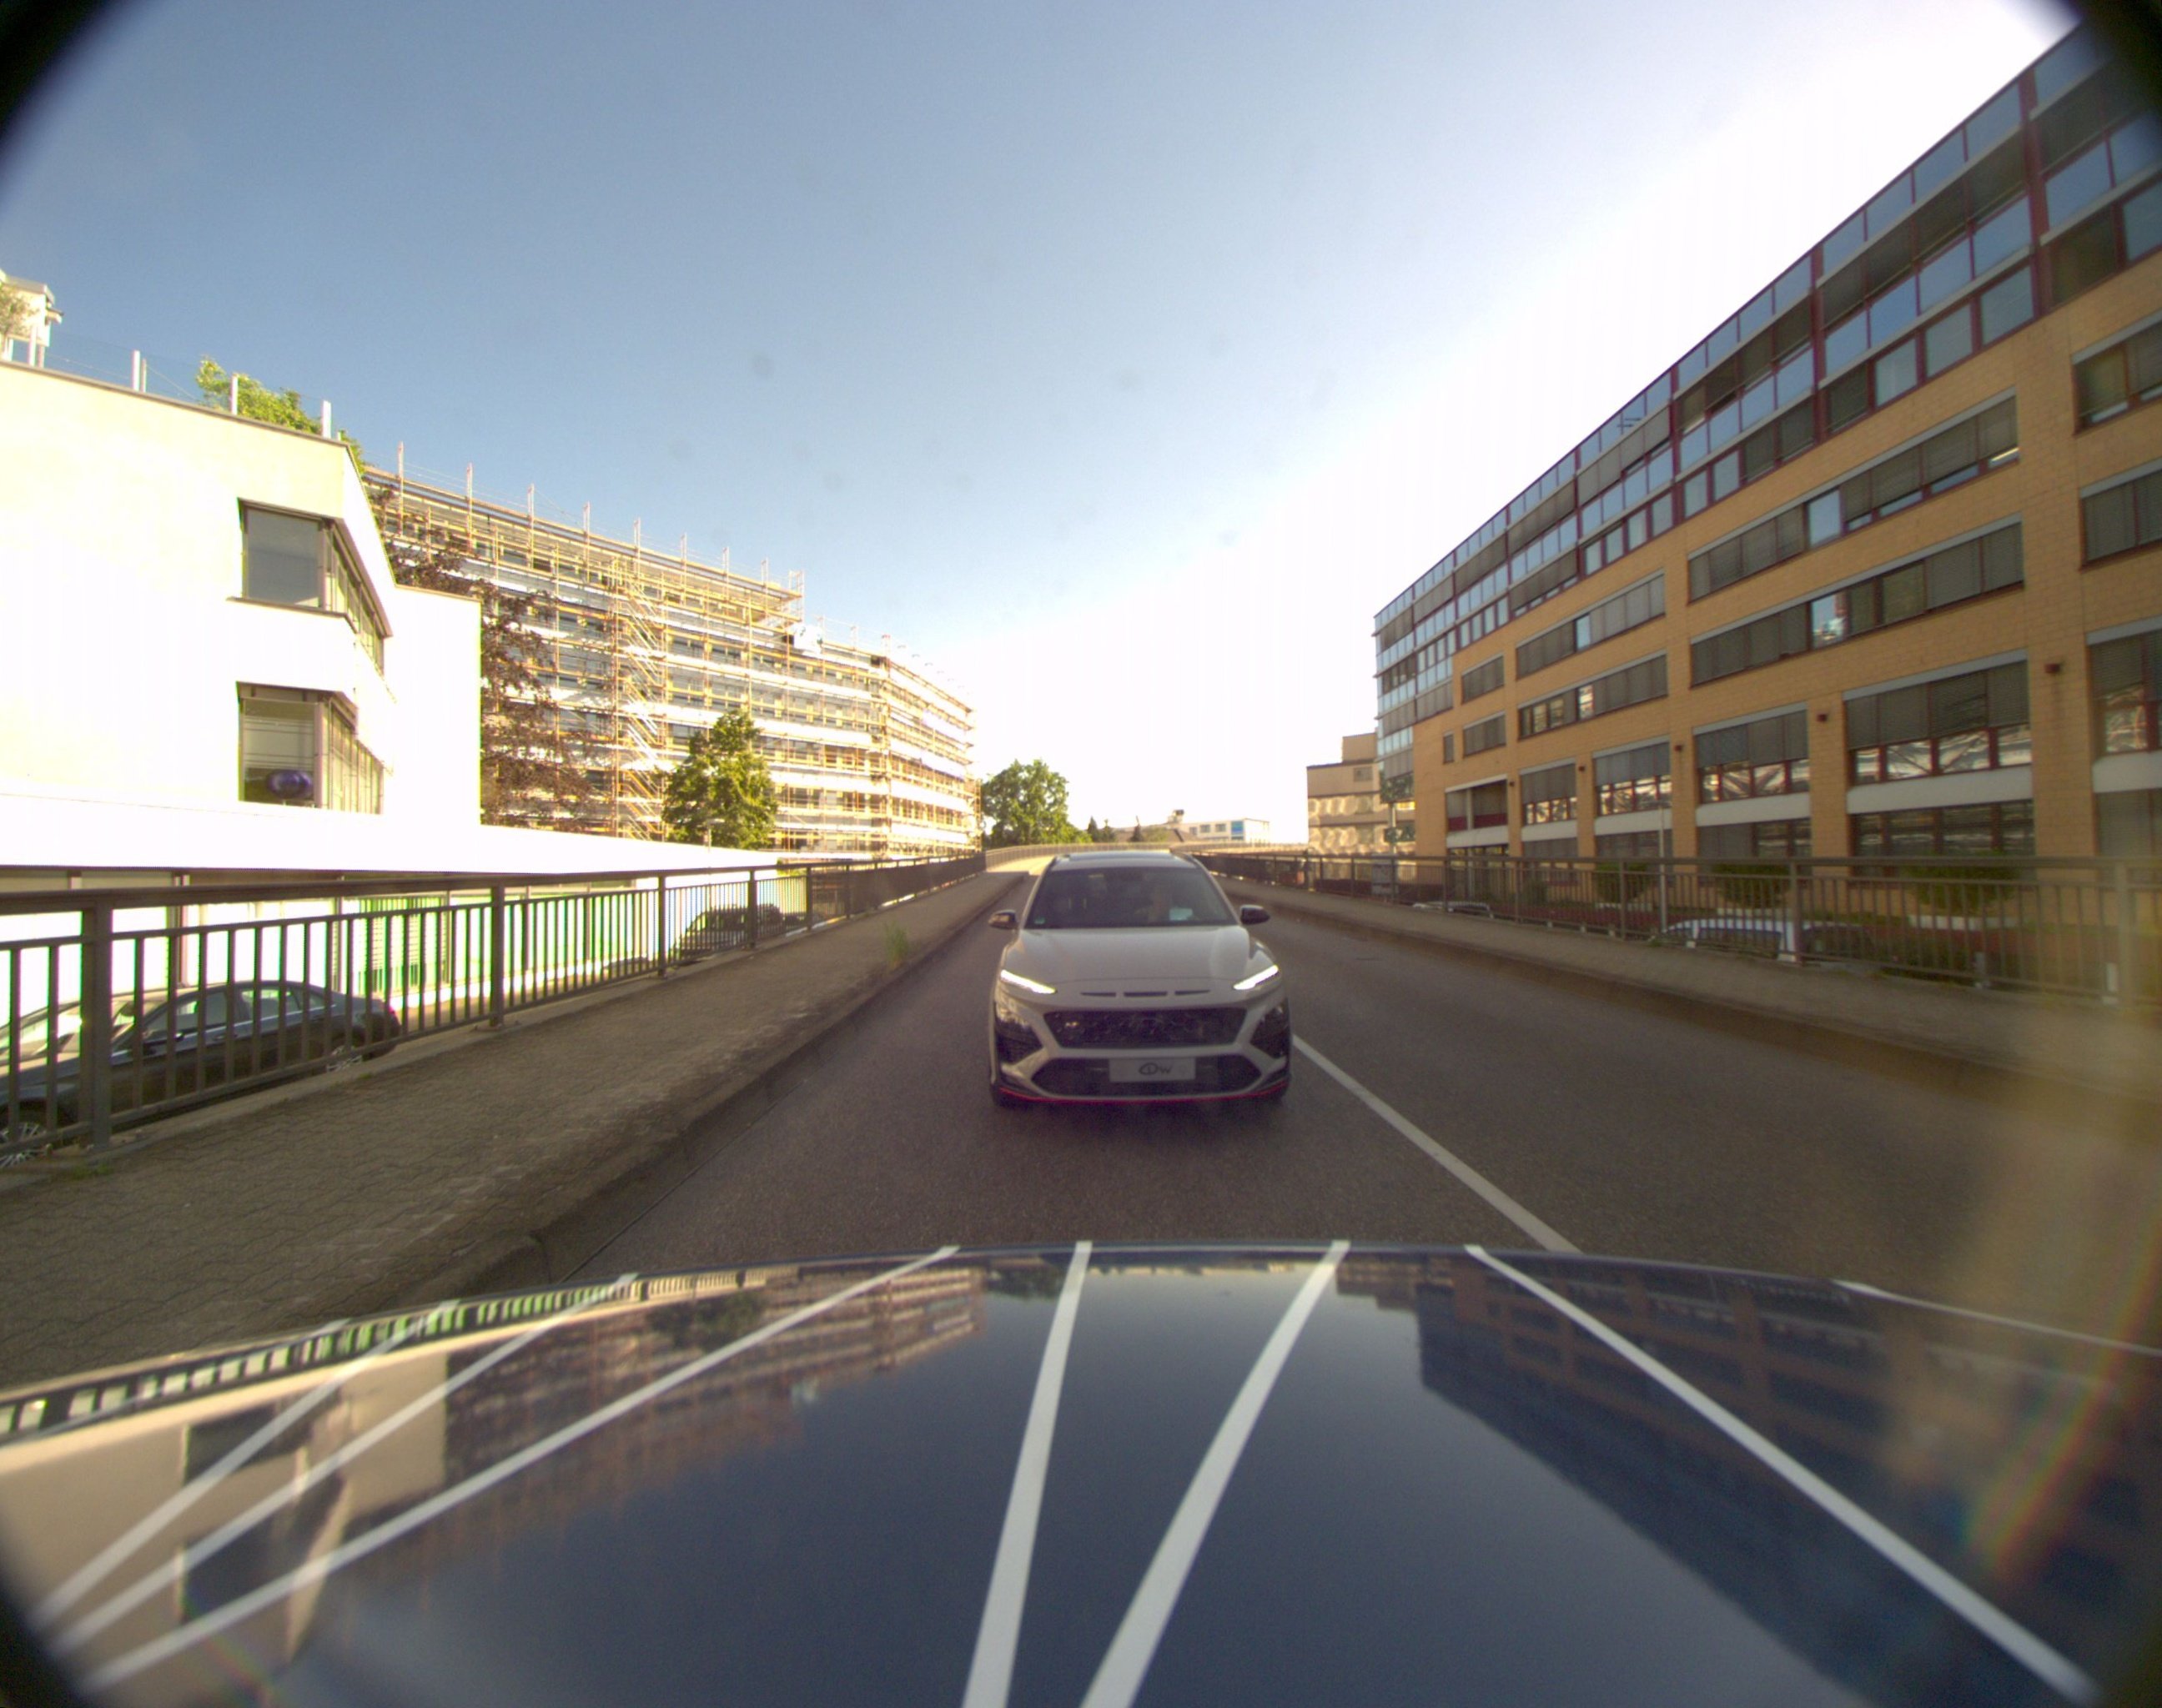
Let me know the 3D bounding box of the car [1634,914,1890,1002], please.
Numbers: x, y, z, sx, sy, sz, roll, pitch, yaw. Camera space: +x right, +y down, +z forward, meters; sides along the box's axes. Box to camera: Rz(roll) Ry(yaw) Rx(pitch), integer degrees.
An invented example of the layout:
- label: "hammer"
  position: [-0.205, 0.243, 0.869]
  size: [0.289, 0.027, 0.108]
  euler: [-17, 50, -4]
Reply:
- label: "car"
  position: [13.048, 1.933, 14.916]
  size: [1.580, 1.261, 3.809]
  euler: [0, -1, -1]

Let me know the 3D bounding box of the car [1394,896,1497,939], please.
- label: "car"
  position: [12.741, 2.189, 26.823]
  size: [1.766, 1.261, 3.809]
  euler: [0, -1, -1]

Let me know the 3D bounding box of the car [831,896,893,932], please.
- label: "car"
  position: [-10.214, 2.777, 35.670]
  size: [1.726, 1.383, 4.000]
  euler: [-2, -1, -1]

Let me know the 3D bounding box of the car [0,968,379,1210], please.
- label: "car"
  position: [-9.597, 2.168, 7.410]
  size: [1.726, 1.513, 4.001]
  euler: [-2, -1, 1]

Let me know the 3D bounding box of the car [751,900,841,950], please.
- label: "car"
  position: [-10.090, 2.481, 27.209]
  size: [1.726, 1.383, 4.000]
  euler: [-2, -1, -1]

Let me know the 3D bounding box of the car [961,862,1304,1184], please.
- label: "car"
  position: [0.288, 0.890, 5.886]
  size: [1.749, 1.637, 4.001]
  euler: [0, -1, 1]

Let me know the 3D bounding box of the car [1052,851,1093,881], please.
- label: "car"
  position: [-0.451, 0.574, 38.172]
  size: [1.902, 1.433, 4.126]
  euler: [0, 0, -1]

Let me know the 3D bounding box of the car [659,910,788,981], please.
- label: "car"
  position: [-9.909, 2.474, 21.421]
  size: [1.726, 1.513, 4.000]
  euler: [-2, -1, -1]
